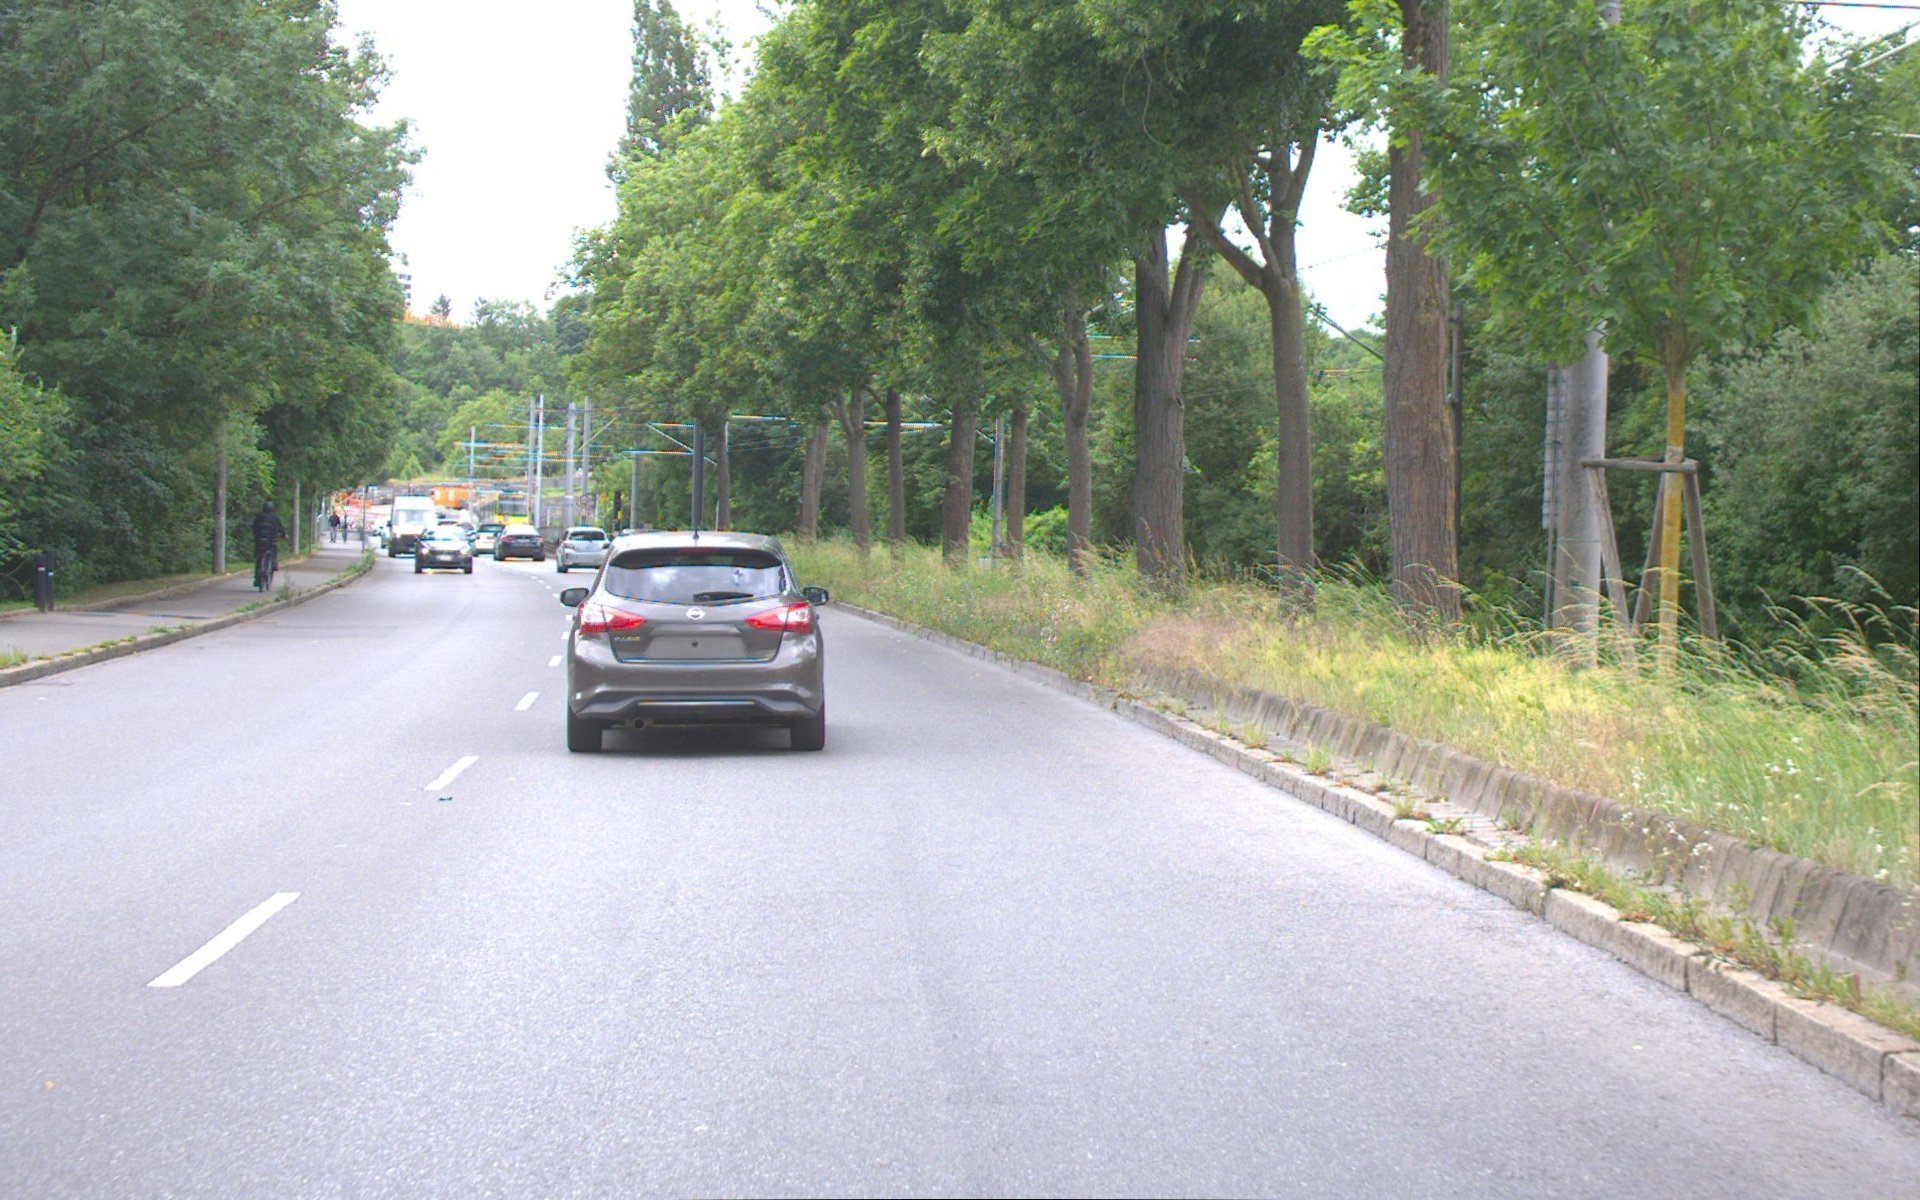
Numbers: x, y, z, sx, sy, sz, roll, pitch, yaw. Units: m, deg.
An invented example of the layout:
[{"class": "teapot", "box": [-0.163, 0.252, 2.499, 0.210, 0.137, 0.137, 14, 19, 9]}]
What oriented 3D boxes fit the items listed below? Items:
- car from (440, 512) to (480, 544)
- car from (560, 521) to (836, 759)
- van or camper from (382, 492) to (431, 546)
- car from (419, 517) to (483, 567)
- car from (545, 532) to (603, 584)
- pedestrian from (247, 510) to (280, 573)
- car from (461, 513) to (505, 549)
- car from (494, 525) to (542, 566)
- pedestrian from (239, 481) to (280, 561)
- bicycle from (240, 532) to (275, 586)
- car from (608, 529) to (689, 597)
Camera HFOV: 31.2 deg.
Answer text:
[{"class": "car", "box": [-25.635, -3.689, 176.333, 1.775, 1.467, 4.001, 3, 2, -6]}, {"class": "car", "box": [-1.903, 0.226, 24.884, 1.816, 1.503, 4.001, 1, 2, -5]}, {"class": "van or camper", "box": [-23.669, -3.485, 147.018, 1.925, 2.143, 3.933, 3, 2, -9]}, {"class": "car", "box": [-15.967, -1.826, 107.985, 1.749, 1.459, 3.921, 3, 1, -6]}, {"class": "car", "box": [-12.618, -1.381, 112.297, 1.775, 1.467, 4.001, 3, 2, -6]}, {"class": "pedestrian", "box": [-18.359, -1.542, 90.655, 0.695, 1.616, 0.684, 3, 2, -5]}, {"class": "car", "box": [-21.282, -3.089, 153.582, 1.775, 1.467, 4.001, 2, 2, -6]}, {"class": "car", "box": [-17.921, -2.227, 139.560, 1.775, 1.467, 4.001, 3, 2, -6]}, {"class": "pedestrian", "box": [-14.089, -1.595, 69.144, 0.617, 1.566, 0.849, 3, 2, -4]}, {"class": "bicycle", "box": [-14.136, -0.826, 69.187, 0.488, 1.027, 1.124, 3, 2, -4]}, {"class": "car", "box": [-7.651, -0.939, 84.777, 1.776, 1.467, 4.001, 3, 2, -3]}]
